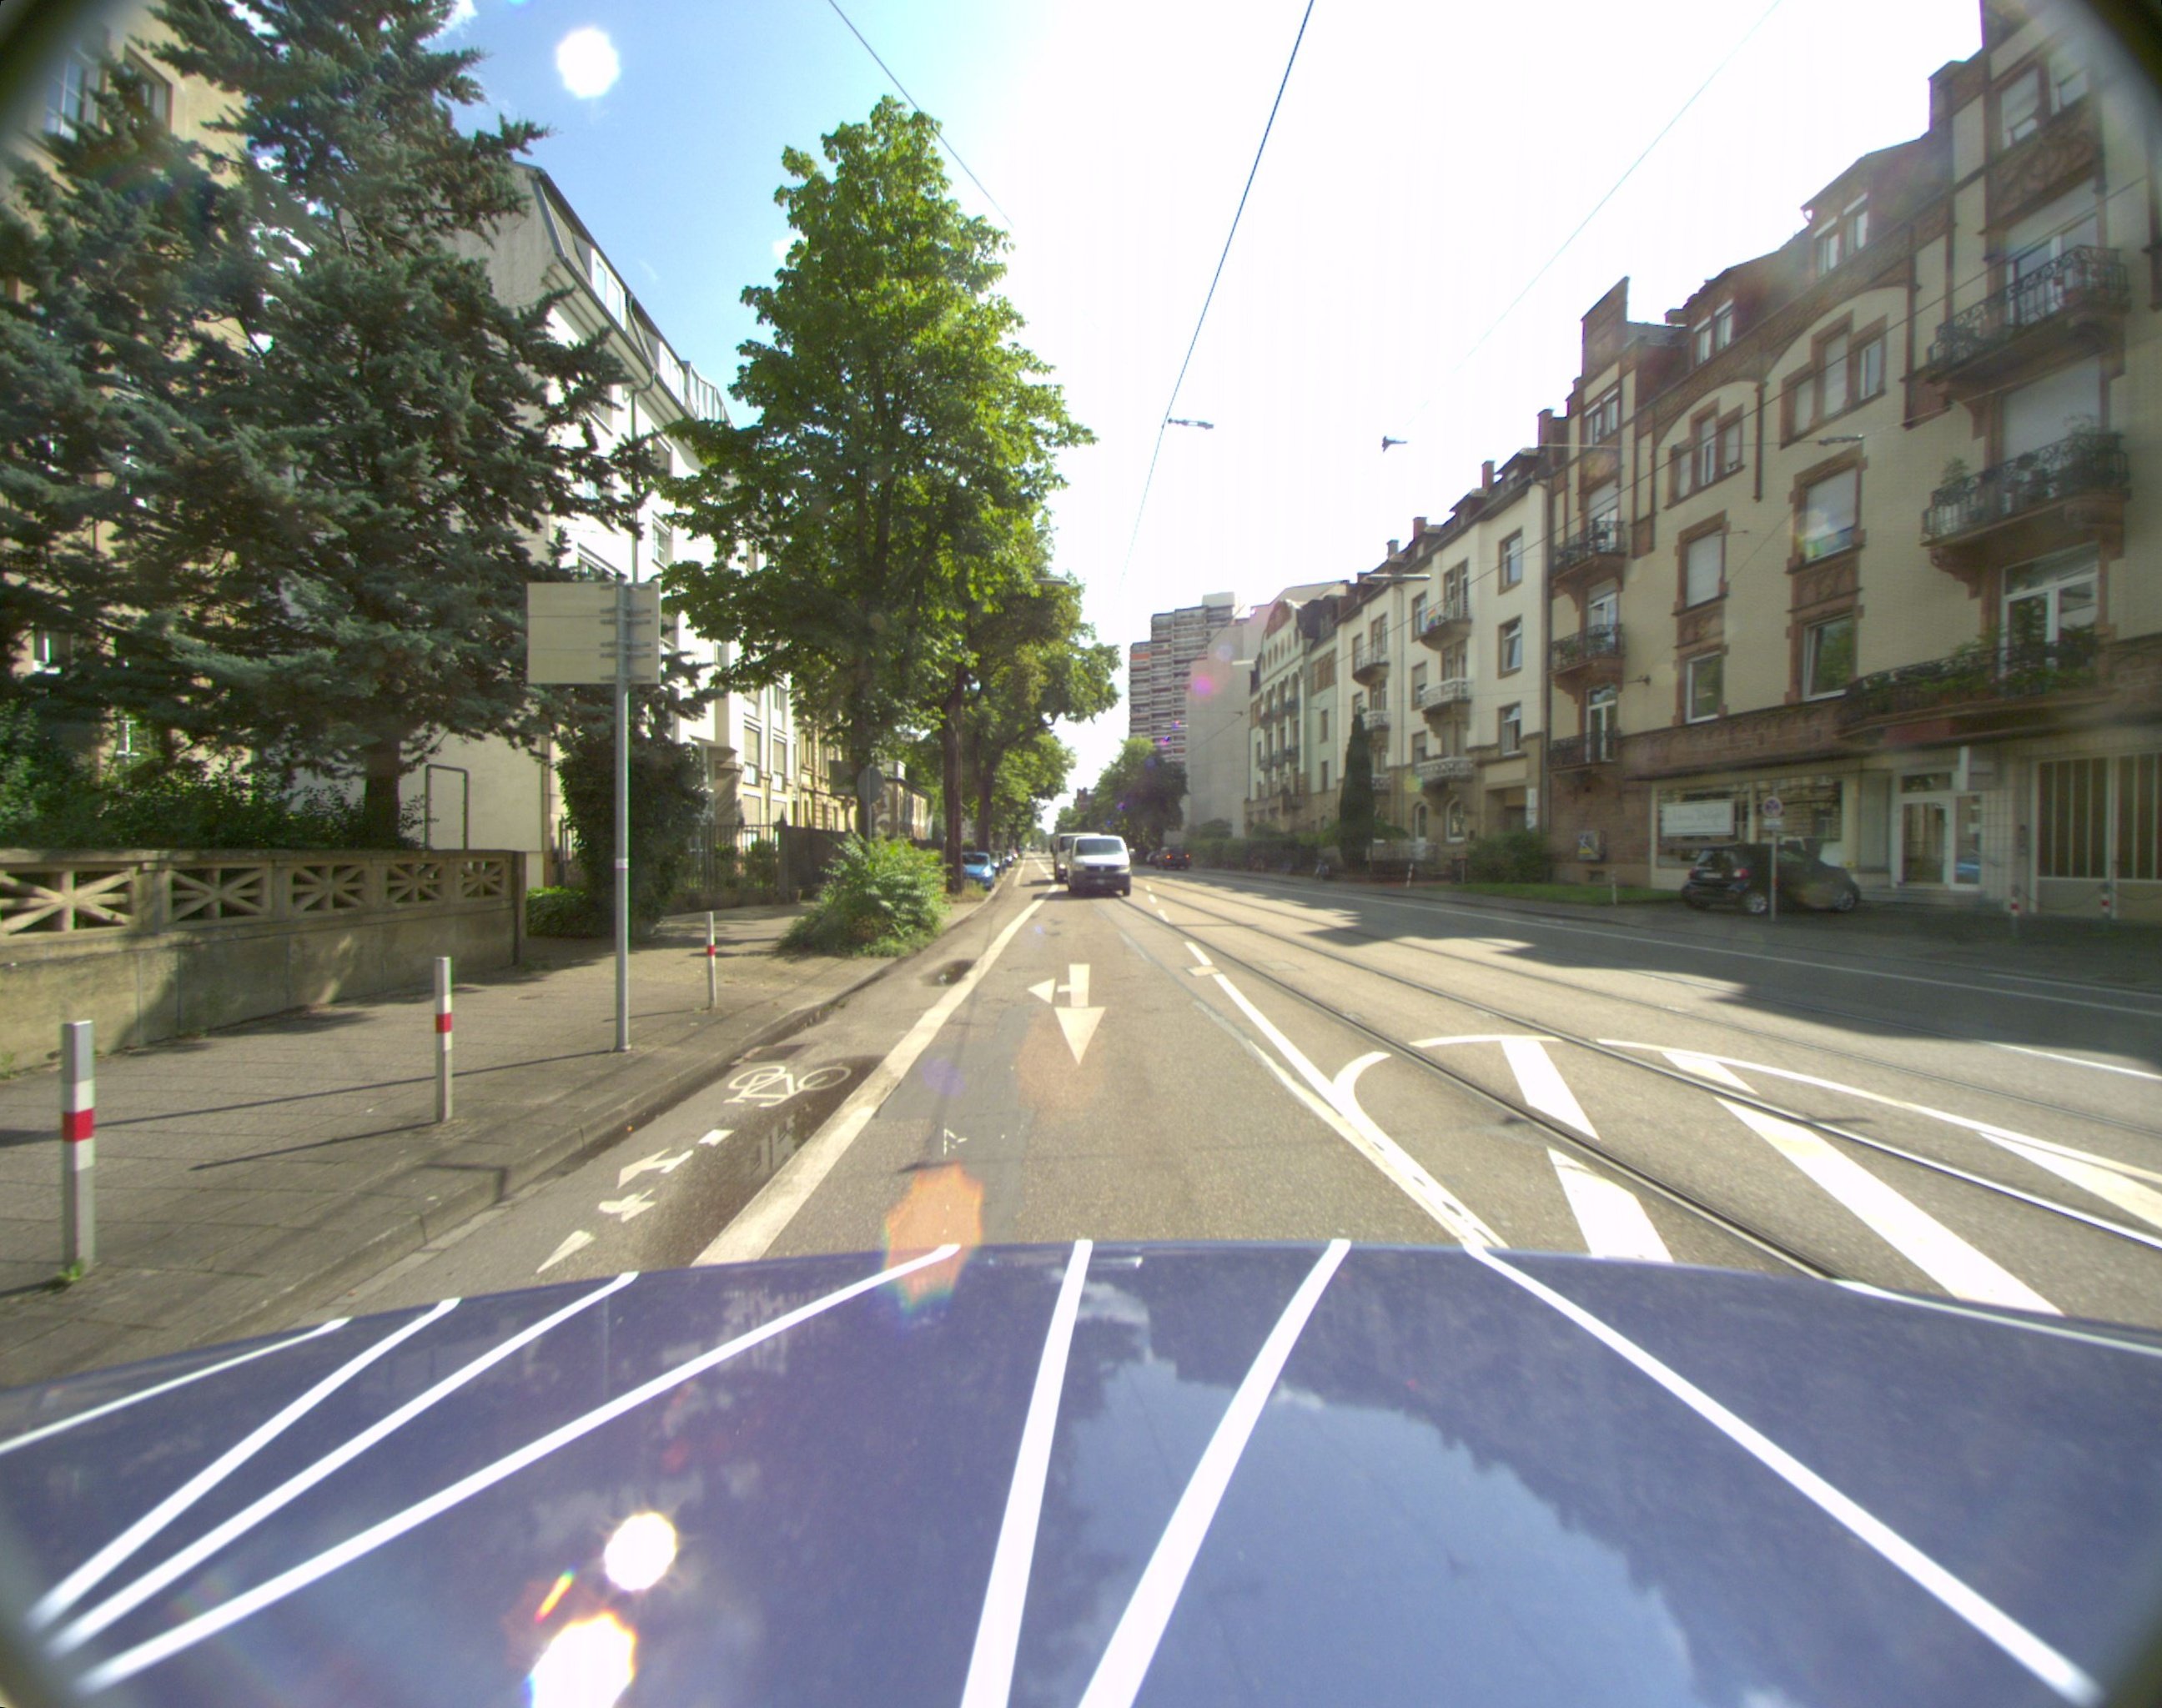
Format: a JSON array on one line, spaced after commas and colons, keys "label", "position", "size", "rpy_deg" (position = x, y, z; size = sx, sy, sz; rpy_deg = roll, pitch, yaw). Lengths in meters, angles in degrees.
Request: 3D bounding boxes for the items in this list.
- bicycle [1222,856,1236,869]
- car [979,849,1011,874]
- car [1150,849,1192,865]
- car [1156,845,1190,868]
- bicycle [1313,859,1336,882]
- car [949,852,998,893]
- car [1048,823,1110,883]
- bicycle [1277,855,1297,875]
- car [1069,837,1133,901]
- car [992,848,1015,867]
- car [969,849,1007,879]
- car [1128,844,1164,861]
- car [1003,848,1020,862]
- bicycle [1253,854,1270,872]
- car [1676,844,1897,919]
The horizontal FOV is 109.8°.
[{"label": "bicycle", "position": [9.942, 0.577, 51.011], "size": [0.587, 0.792, 1.872], "rpy_deg": [-3, 2, 1]}, {"label": "car", "position": [-5.433, 0.460, 48.364], "size": [1.724, 1.443, 3.924], "rpy_deg": [2, 1, -3]}, {"label": "car", "position": [8.680, 0.242, 73.669], "size": [3.890, 1.527, 1.634], "rpy_deg": [0, 1, -2]}, {"label": "car", "position": [6.924, 0.184, 57.591], "size": [1.797, 1.701, 4.329], "rpy_deg": [0, 1, -4]}, {"label": "bicycle", "position": [11.191, 0.733, 34.922], "size": [0.524, 0.901, 2.066], "rpy_deg": [0, 3, 4]}, {"label": "car", "position": [-4.189, 0.681, 29.977], "size": [1.642, 1.447, 3.697], "rpy_deg": [2, 1, -4]}, {"label": "car", "position": [-0.214, -0.066, 35.753], "size": [2.169, 2.572, 5.659], "rpy_deg": [-1, 1, -8]}, {"label": "bicycle", "position": [10.962, 0.570, 40.472], "size": [0.539, 1.024, 1.872], "rpy_deg": [0, 2, 1]}, {"label": "car", "position": [0.554, 0.424, 24.821], "size": [1.831, 1.856, 4.844], "rpy_deg": [-1, 1, -1]}, {"label": "car", "position": [-6.830, 0.279, 67.219], "size": [1.774, 1.522, 4.198], "rpy_deg": [2, 1, -3]}, {"label": "car", "position": [-4.873, 0.494, 40.256], "size": [1.645, 1.499, 3.621], "rpy_deg": [2, 1, -2]}, {"label": "car", "position": [7.680, -0.198, 89.882], "size": [3.997, 1.915, 1.830], "rpy_deg": [0, 1, -1]}, {"label": "car", "position": [-8.177, 0.096, 90.042], "size": [1.774, 1.563, 4.198], "rpy_deg": [2, 1, -3]}, {"label": "bicycle", "position": [10.644, 0.543, 44.888], "size": [0.587, 0.980, 1.872], "rpy_deg": [0, 2, 1]}, {"label": "car", "position": [15.781, 0.576, 17.115], "size": [3.453, 1.478, 1.706], "rpy_deg": [-2, 1, -2]}]
